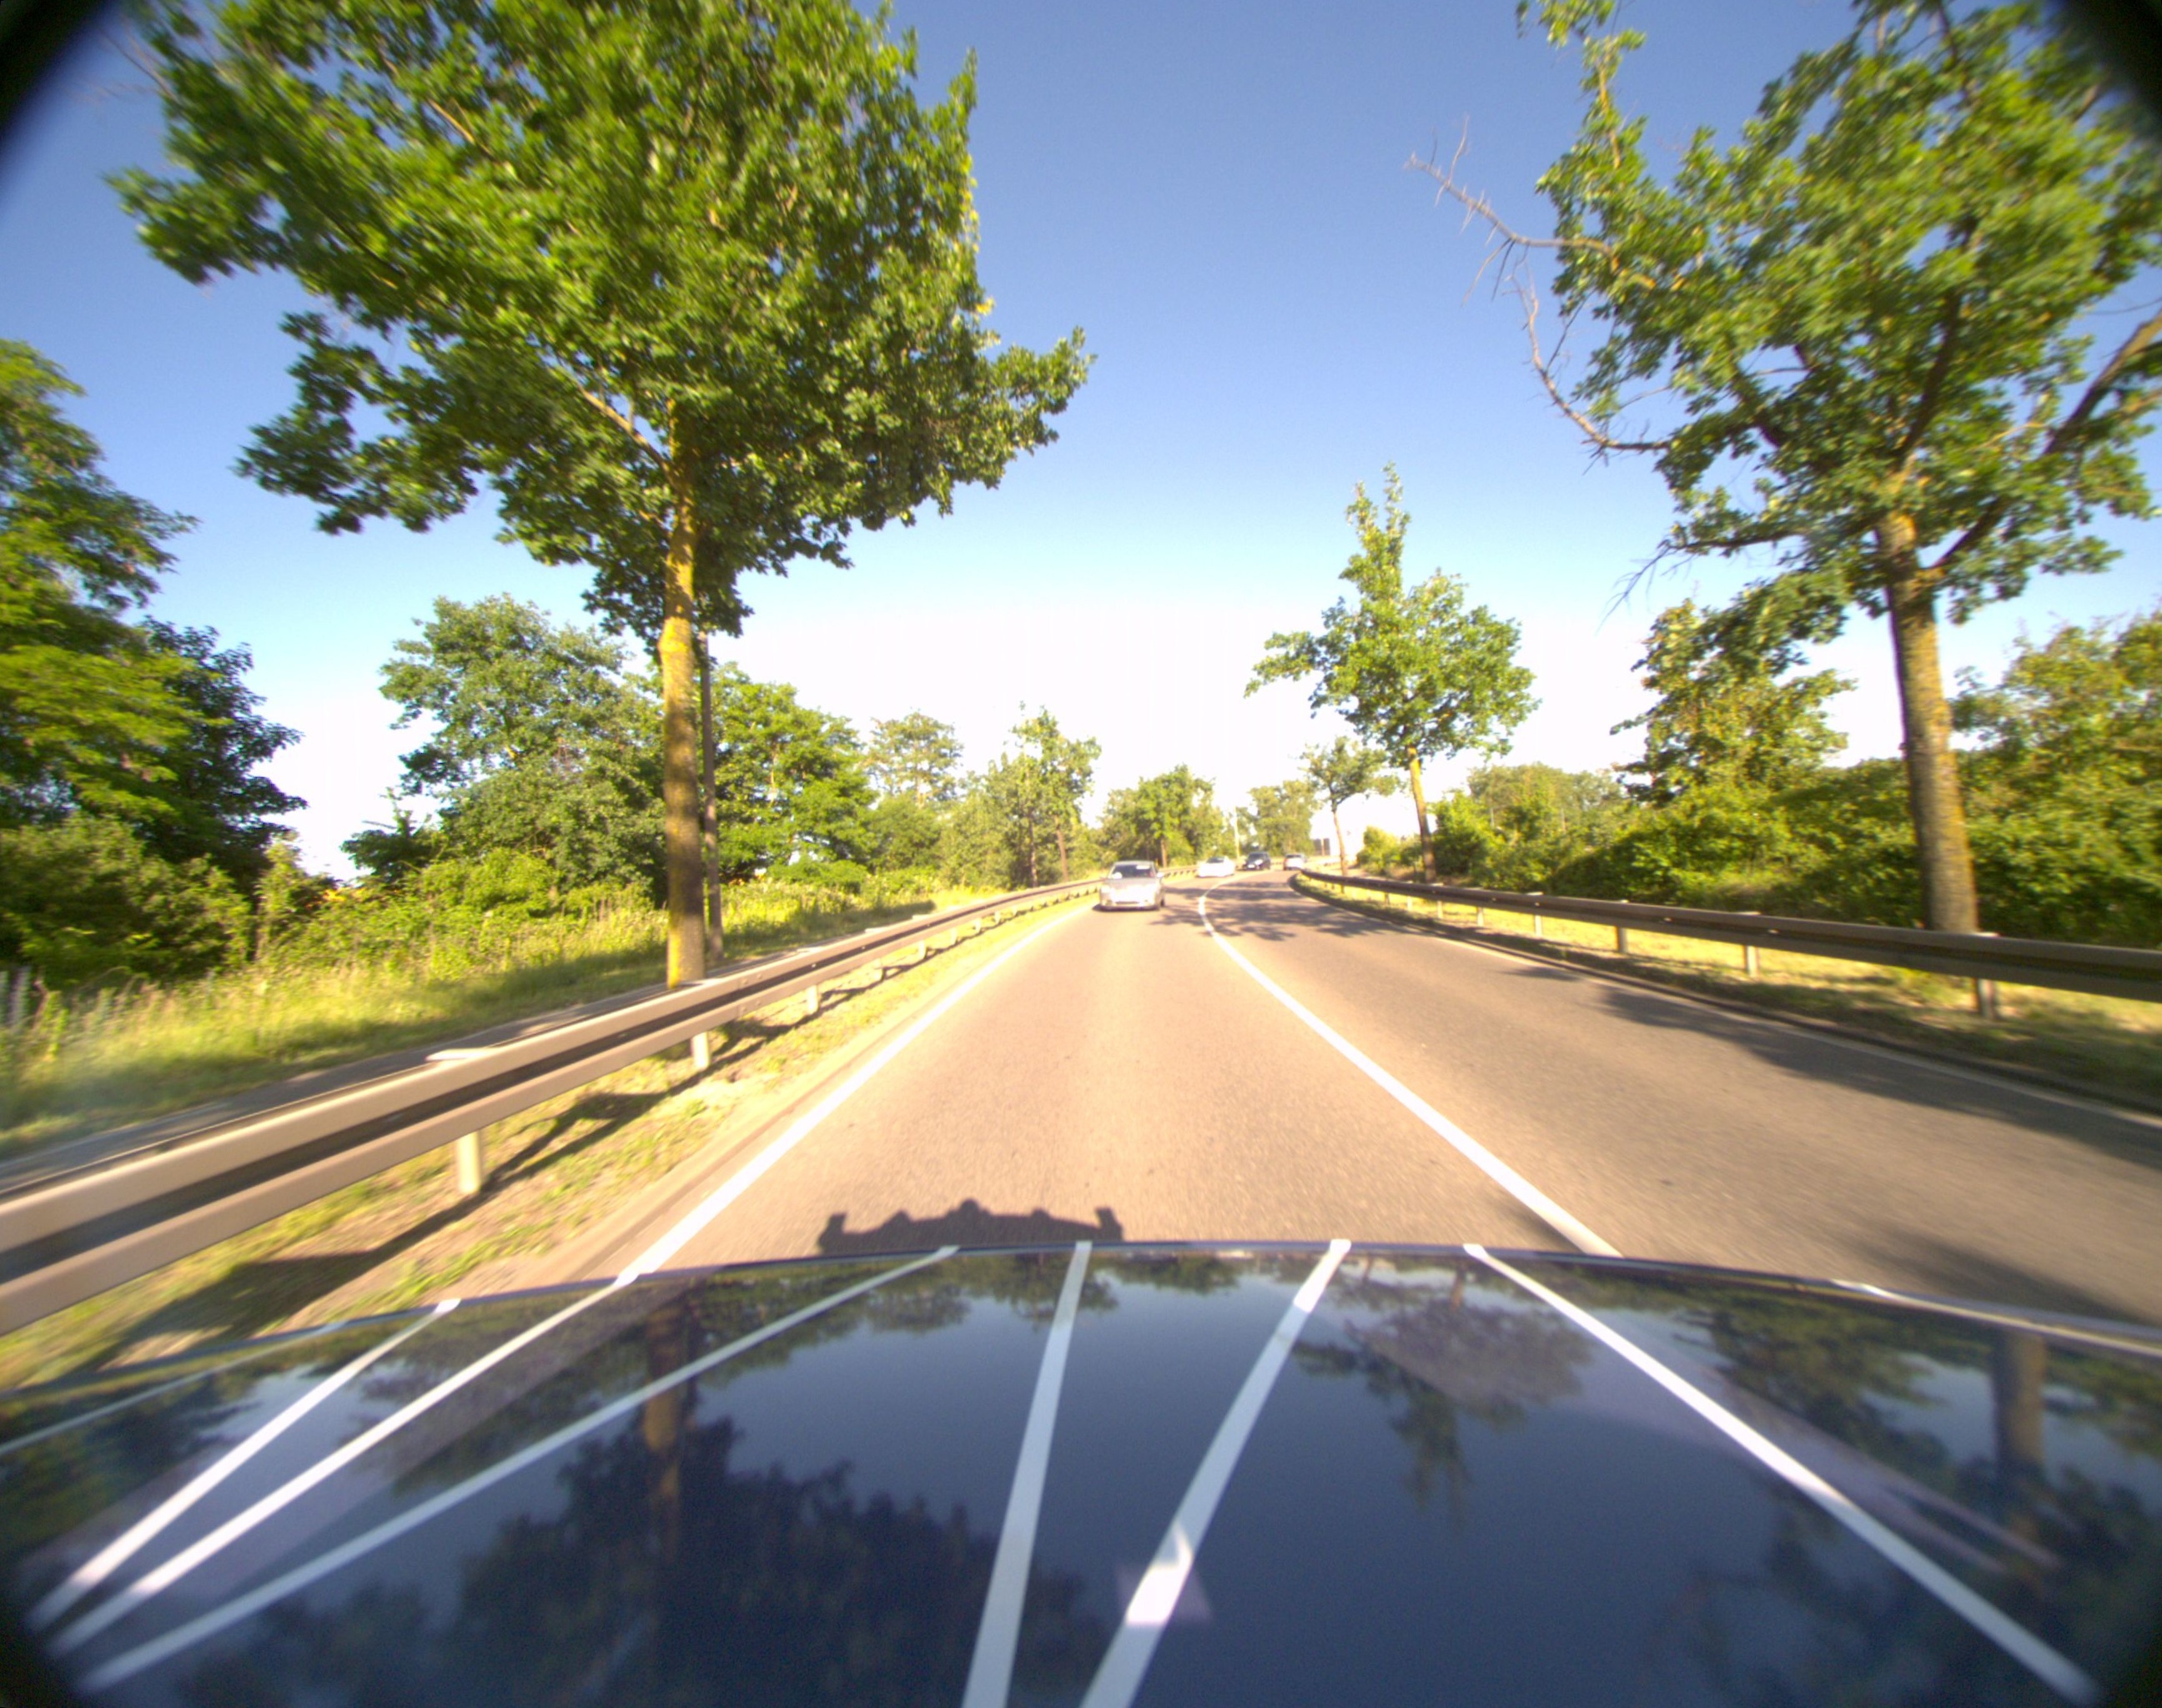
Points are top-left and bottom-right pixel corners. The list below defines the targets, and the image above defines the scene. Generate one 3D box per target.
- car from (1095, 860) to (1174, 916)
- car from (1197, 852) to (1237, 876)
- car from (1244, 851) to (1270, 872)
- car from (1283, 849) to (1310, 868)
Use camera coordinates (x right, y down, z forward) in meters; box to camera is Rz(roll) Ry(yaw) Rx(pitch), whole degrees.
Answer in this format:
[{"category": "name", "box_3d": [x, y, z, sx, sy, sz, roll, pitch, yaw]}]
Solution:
[{"category": "car", "box_3d": [1.707, 0.972, 23.051, 1.681, 1.433, 3.862, -3, 0, 14]}, {"category": "car", "box_3d": [9.628, 0.682, 53.670, 2.147, 1.558, 4.203, -2, 0, 19]}, {"category": "car", "box_3d": [15.402, 0.628, 66.497, 1.680, 1.694, 3.610, -3, 0, 20]}, {"category": "car", "box_3d": [18.192, 0.369, 64.045, 1.697, 1.509, 3.987, -1, 0, 22]}]
